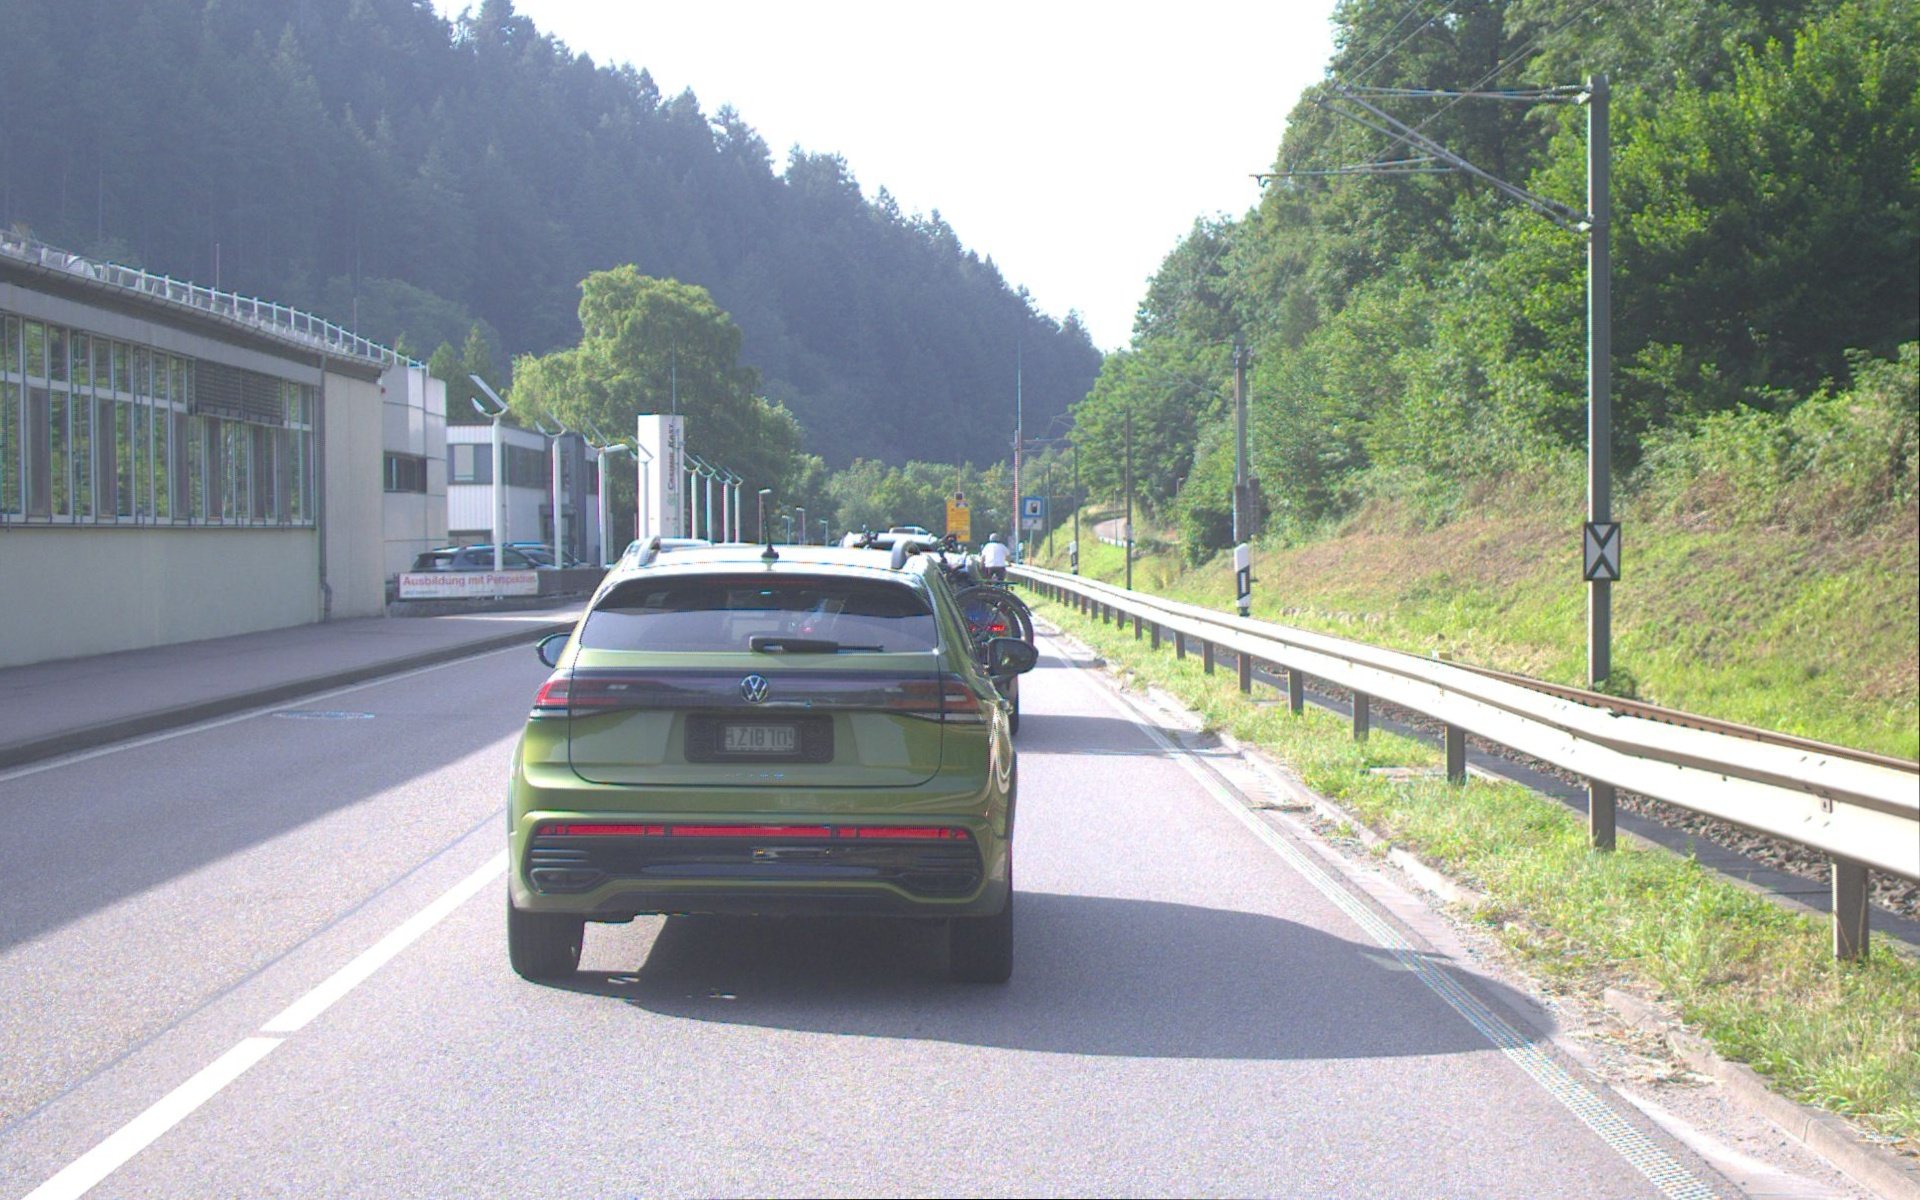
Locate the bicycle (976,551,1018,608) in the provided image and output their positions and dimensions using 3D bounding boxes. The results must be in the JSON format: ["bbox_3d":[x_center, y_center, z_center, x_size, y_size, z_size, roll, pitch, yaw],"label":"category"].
[{"bbox_3d":[0.804,-0.463,75.920,0.811,1.246,2.123,0,1,-2],"label":"bicycle"}]

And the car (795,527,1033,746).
[{"bbox_3d":[-0.389,0.234,27.339,1.739,1.596,4.000,1,1,-1],"label":"car"}]

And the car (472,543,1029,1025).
[{"bbox_3d":[-0.709,0.546,12.794,1.739,1.503,4.000,0,1,-1],"label":"car"}]

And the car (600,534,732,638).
[{"bbox_3d":[-4.550,-0.251,53.711,1.719,1.509,4.199,1,1,-1],"label":"car"}]

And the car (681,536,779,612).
[{"bbox_3d":[-4.747,-0.561,71.382,1.773,1.485,4.052,1,1,-1],"label":"car"}]

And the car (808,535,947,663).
[{"bbox_3d":[-1.093,-0.048,45.505,1.739,1.596,4.000,1,1,-1],"label":"car"}]

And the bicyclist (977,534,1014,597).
[{"bbox_3d":[0.785,-0.766,76.194,0.781,1.407,0.675,0,1,-2],"label":"bicyclist"}]
